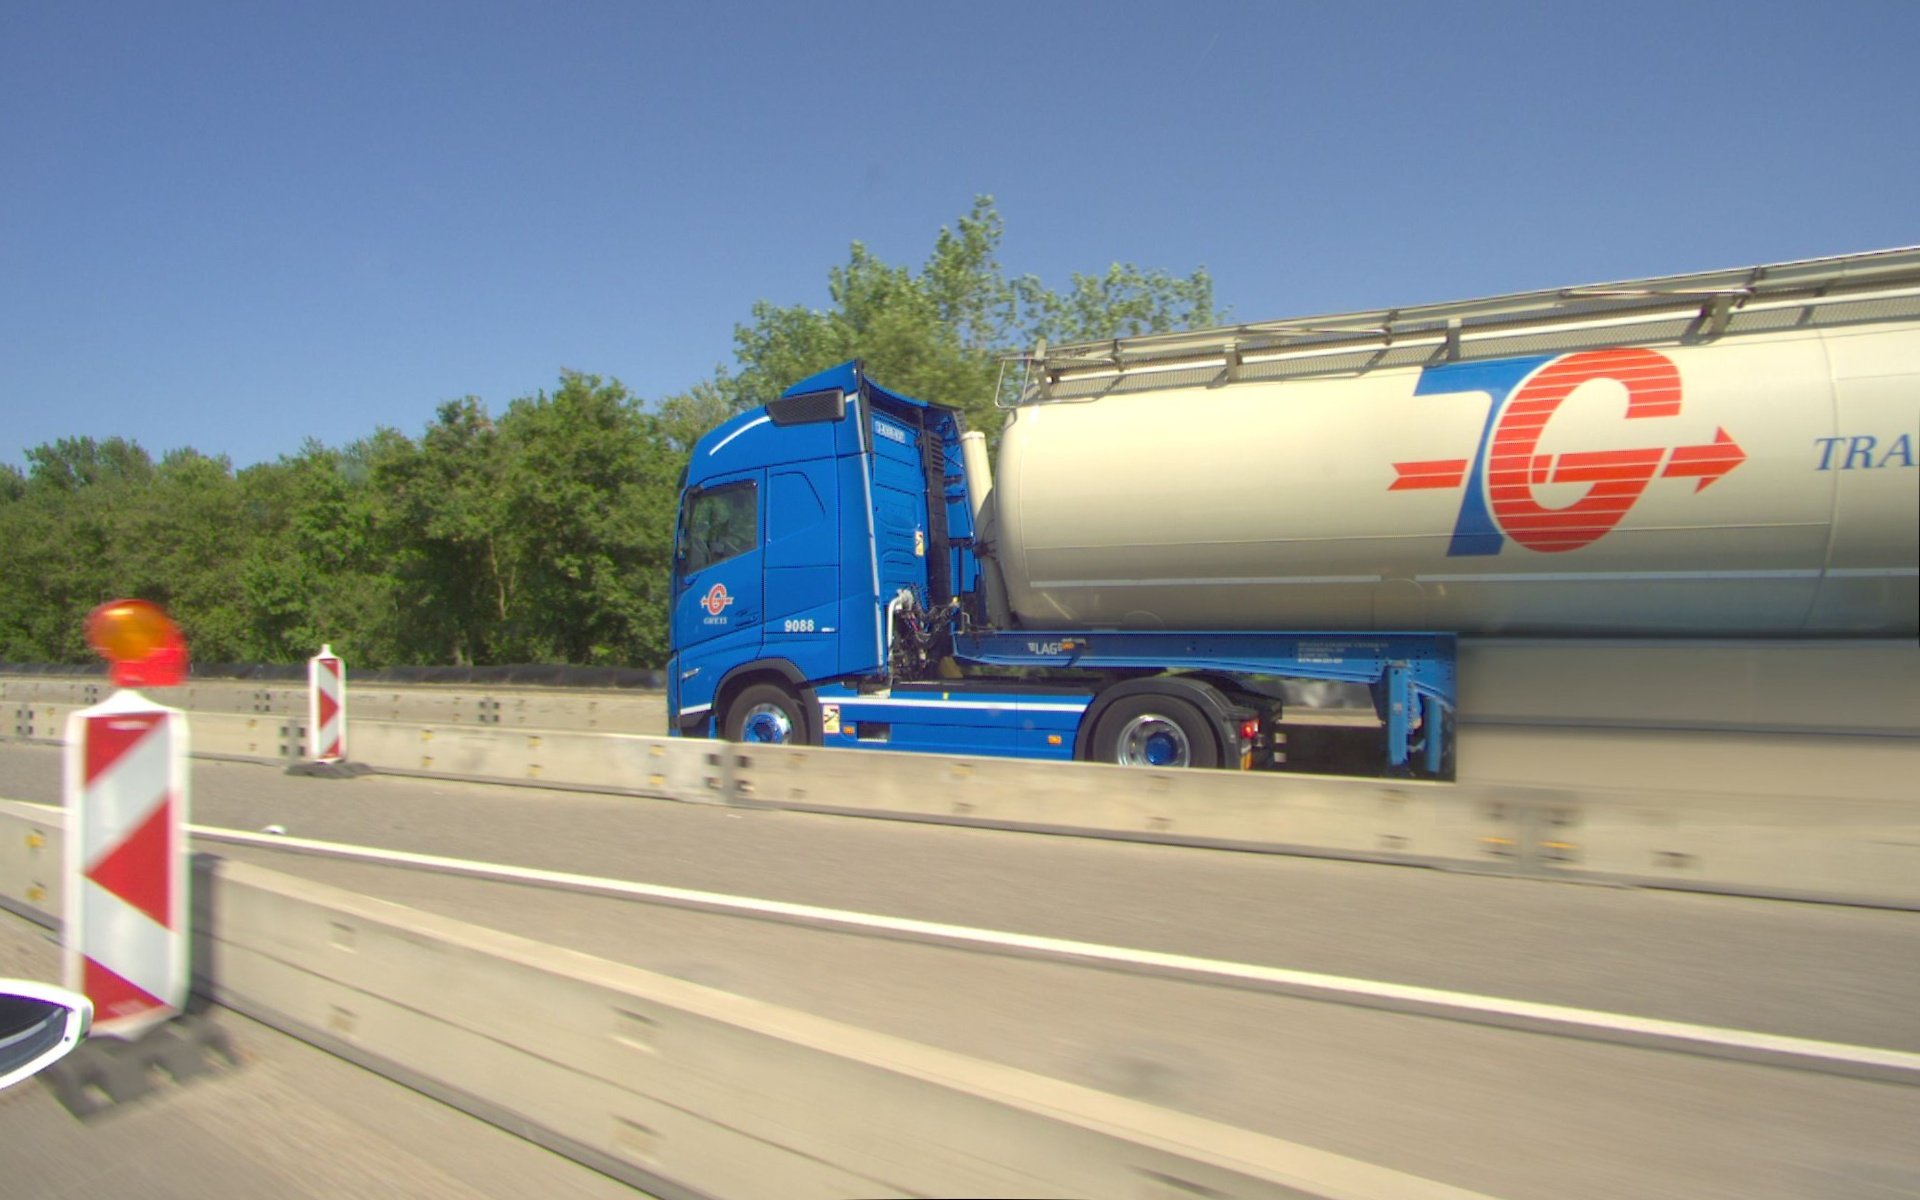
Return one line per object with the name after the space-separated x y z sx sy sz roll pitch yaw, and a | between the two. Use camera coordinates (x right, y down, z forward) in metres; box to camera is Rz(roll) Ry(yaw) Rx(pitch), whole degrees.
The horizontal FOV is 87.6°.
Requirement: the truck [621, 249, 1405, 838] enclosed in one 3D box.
0.417 -0.329 9.809 7.181 4.156 2.694 -1 0 25 | truck

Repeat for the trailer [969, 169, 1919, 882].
6.269 -0.423 7.077 12.408 4.191 2.694 -1 0 25 | trailer
